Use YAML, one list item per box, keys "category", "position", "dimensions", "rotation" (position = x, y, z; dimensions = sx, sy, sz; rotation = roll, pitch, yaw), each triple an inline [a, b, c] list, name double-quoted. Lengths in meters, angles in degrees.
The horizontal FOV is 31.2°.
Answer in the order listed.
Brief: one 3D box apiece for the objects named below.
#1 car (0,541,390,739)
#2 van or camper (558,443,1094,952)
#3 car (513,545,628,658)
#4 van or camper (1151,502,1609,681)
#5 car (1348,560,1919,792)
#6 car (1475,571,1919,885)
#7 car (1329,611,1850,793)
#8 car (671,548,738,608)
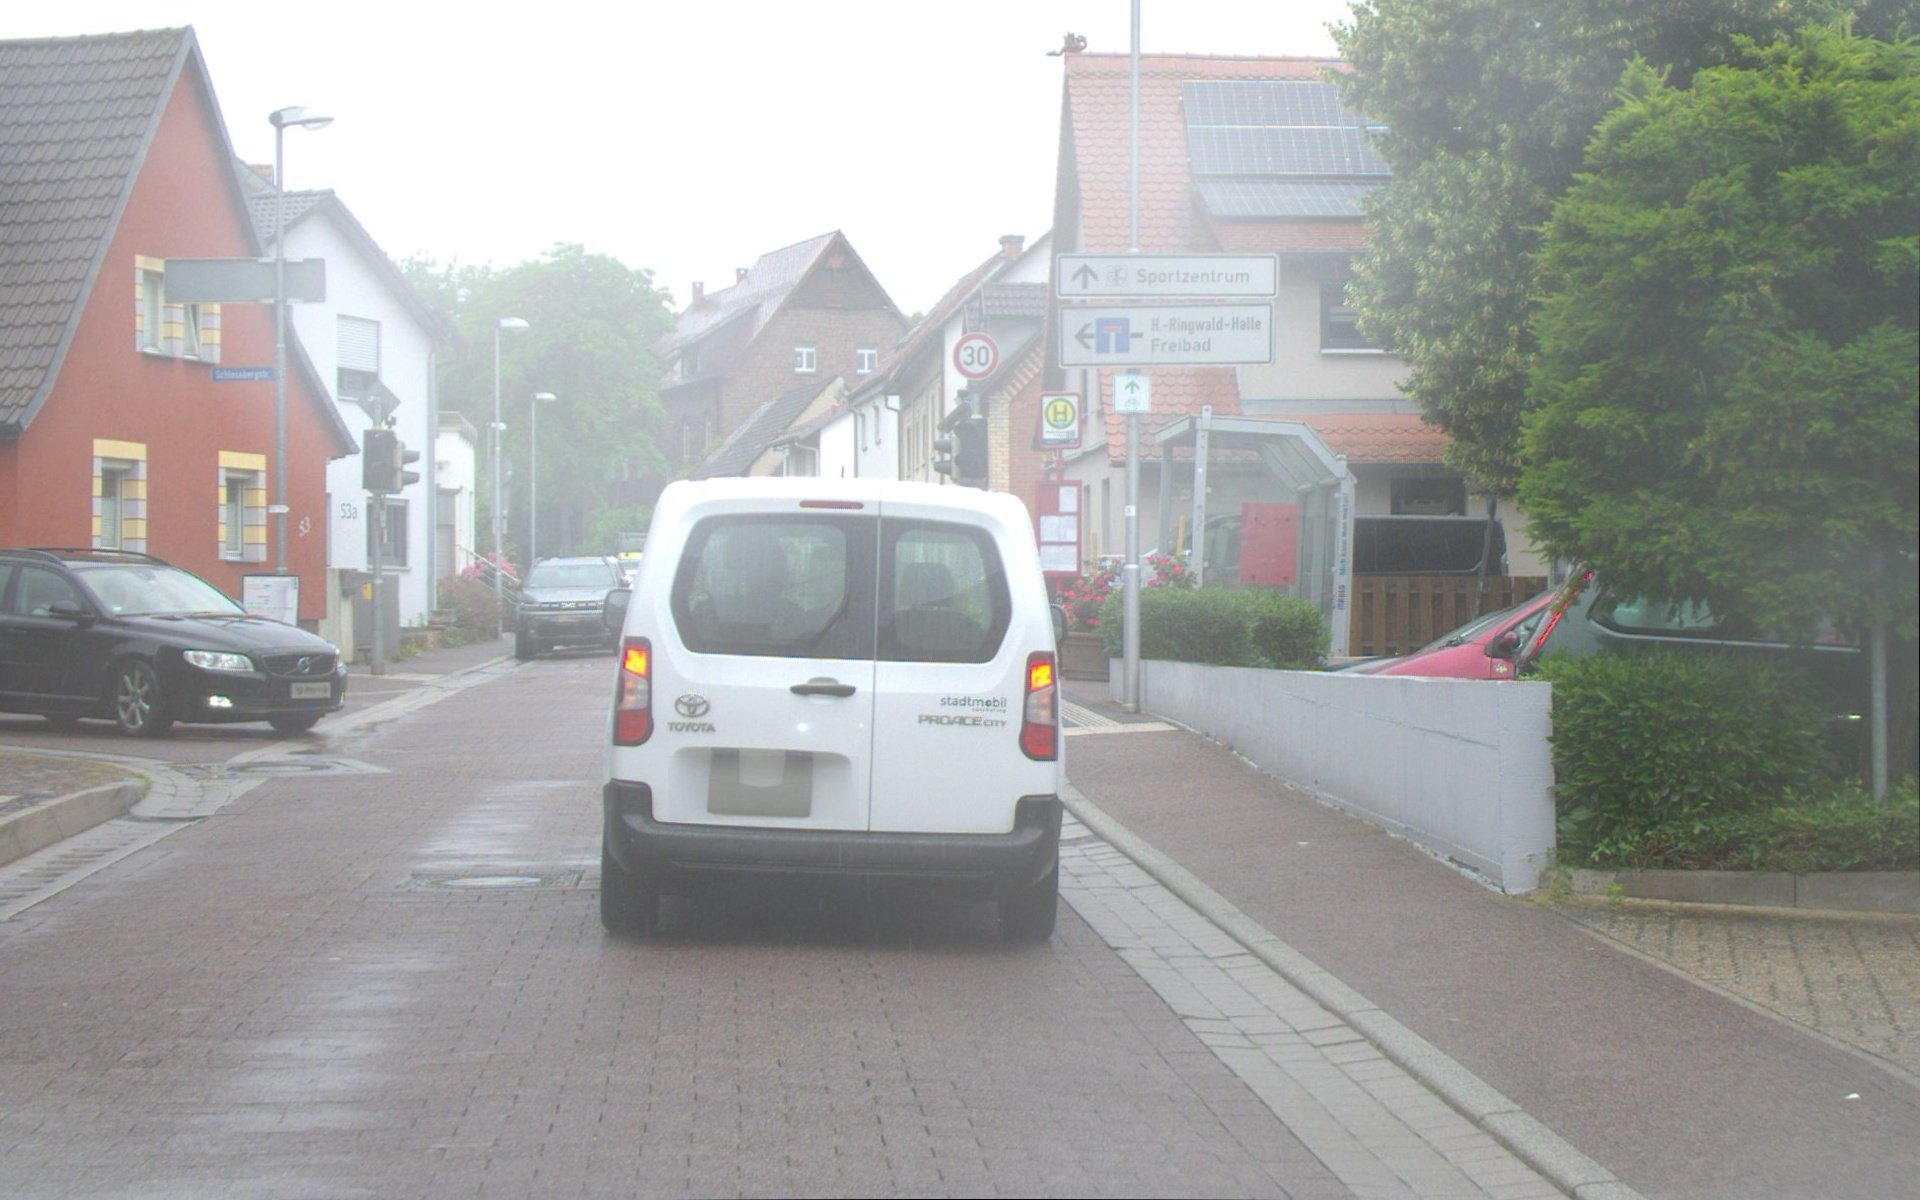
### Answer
- category: "car"
  position: [-6.974, 0.274, 28.247]
  dimensions: [4.307, 1.472, 1.847]
  rotation: [2, 1, 30]
- category: "van or camper"
  position: [-0.657, 0.338, 14.707]
  dimensions: [1.943, 1.845, 4.001]
  rotation: [1, 1, -5]
- category: "car"
  position: [-6.415, -0.013, 56.939]
  dimensions: [1.812, 1.773, 4.018]
  rotation: [-1, 1, -5]
- category: "van or camper"
  position: [4.986, -0.104, 41.151]
  dimensions: [5.068, 1.916, 1.876]
  rotation: [2, 0, -7]
- category: "car"
  position: [4.941, 0.515, 25.033]
  dimensions: [4.070, 1.584, 1.857]
  rotation: [0, 0, 11]
- category: "car"
  position: [4.754, 0.607, 17.130]
  dimensions: [4.230, 1.475, 1.694]
  rotation: [0, 0, 12]
- category: "car"
  position: [4.983, 0.796, 27.639]
  dimensions: [3.952, 1.374, 1.751]
  rotation: [0, 1, 4]
- category: "car"
  position: [-8.398, -0.733, 112.806]
  dimensions: [1.993, 1.741, 4.001]
  rotation: [2, 2, -6]
